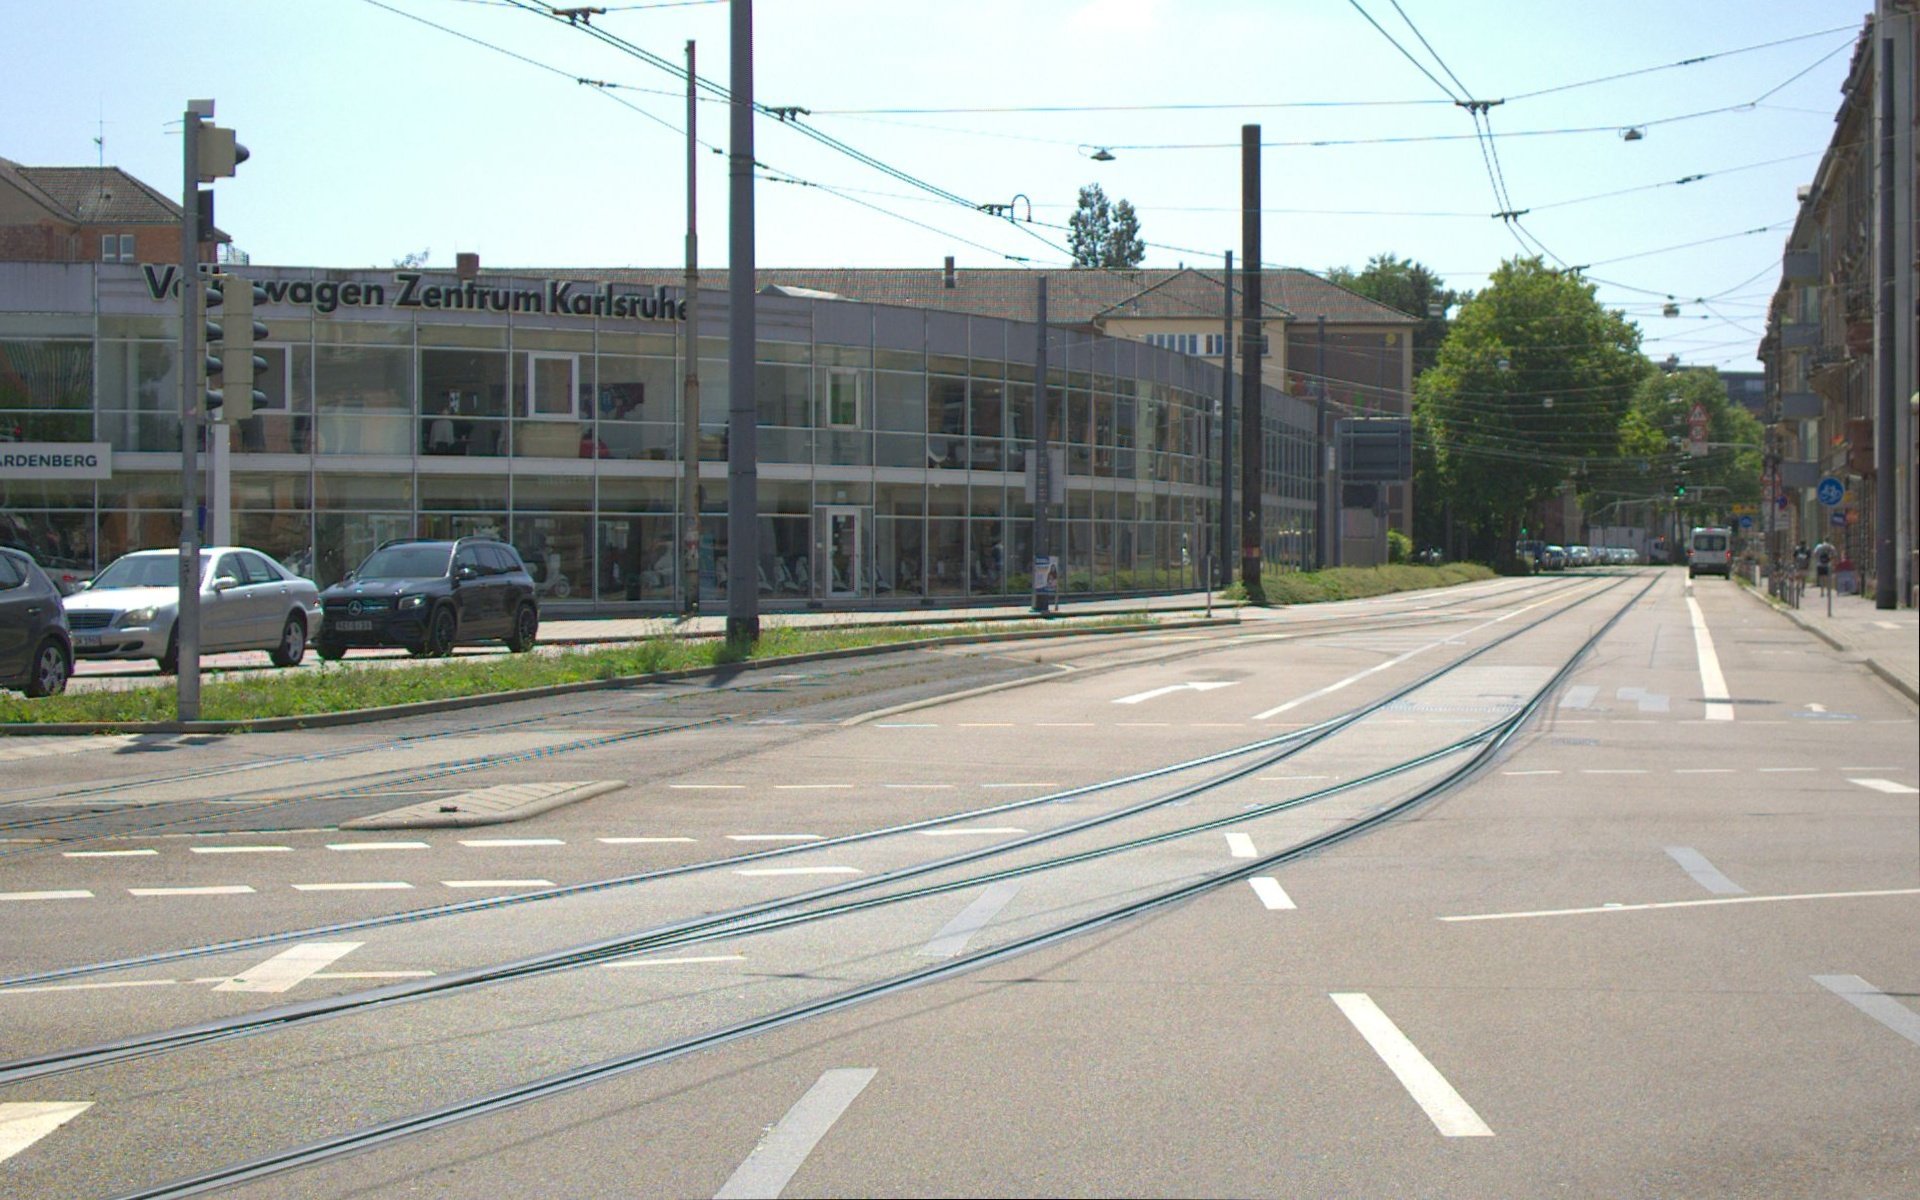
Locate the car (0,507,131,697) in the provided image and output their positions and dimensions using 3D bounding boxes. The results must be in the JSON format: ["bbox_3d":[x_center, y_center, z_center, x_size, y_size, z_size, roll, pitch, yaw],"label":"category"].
[{"bbox_3d":[-9.215,0.005,29.615,1.995,1.632,4.843,1,1,14],"label":"car"}]

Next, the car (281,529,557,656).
[{"bbox_3d":[-7.522,-0.147,48.335,2.080,1.677,4.843,1,1,14],"label":"car"}]

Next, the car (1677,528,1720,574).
[{"bbox_3d":[37.276,-2.447,173.529,1.995,2.173,4.367,2,0,12],"label":"car"}]

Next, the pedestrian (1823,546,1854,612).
[{"bbox_3d":[27.035,-0.644,105.813,0.768,2.007,0.663,2,0,9],"label":"pedestrian"}]

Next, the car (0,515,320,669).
[{"bbox_3d":[-9.605,-0.136,41.410,1.995,1.733,4.540,1,1,14],"label":"car"}]

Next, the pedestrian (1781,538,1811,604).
[{"bbox_3d":[25.821,-0.889,106.218,0.768,2.007,0.663,2,0,9],"label":"pedestrian"}]
